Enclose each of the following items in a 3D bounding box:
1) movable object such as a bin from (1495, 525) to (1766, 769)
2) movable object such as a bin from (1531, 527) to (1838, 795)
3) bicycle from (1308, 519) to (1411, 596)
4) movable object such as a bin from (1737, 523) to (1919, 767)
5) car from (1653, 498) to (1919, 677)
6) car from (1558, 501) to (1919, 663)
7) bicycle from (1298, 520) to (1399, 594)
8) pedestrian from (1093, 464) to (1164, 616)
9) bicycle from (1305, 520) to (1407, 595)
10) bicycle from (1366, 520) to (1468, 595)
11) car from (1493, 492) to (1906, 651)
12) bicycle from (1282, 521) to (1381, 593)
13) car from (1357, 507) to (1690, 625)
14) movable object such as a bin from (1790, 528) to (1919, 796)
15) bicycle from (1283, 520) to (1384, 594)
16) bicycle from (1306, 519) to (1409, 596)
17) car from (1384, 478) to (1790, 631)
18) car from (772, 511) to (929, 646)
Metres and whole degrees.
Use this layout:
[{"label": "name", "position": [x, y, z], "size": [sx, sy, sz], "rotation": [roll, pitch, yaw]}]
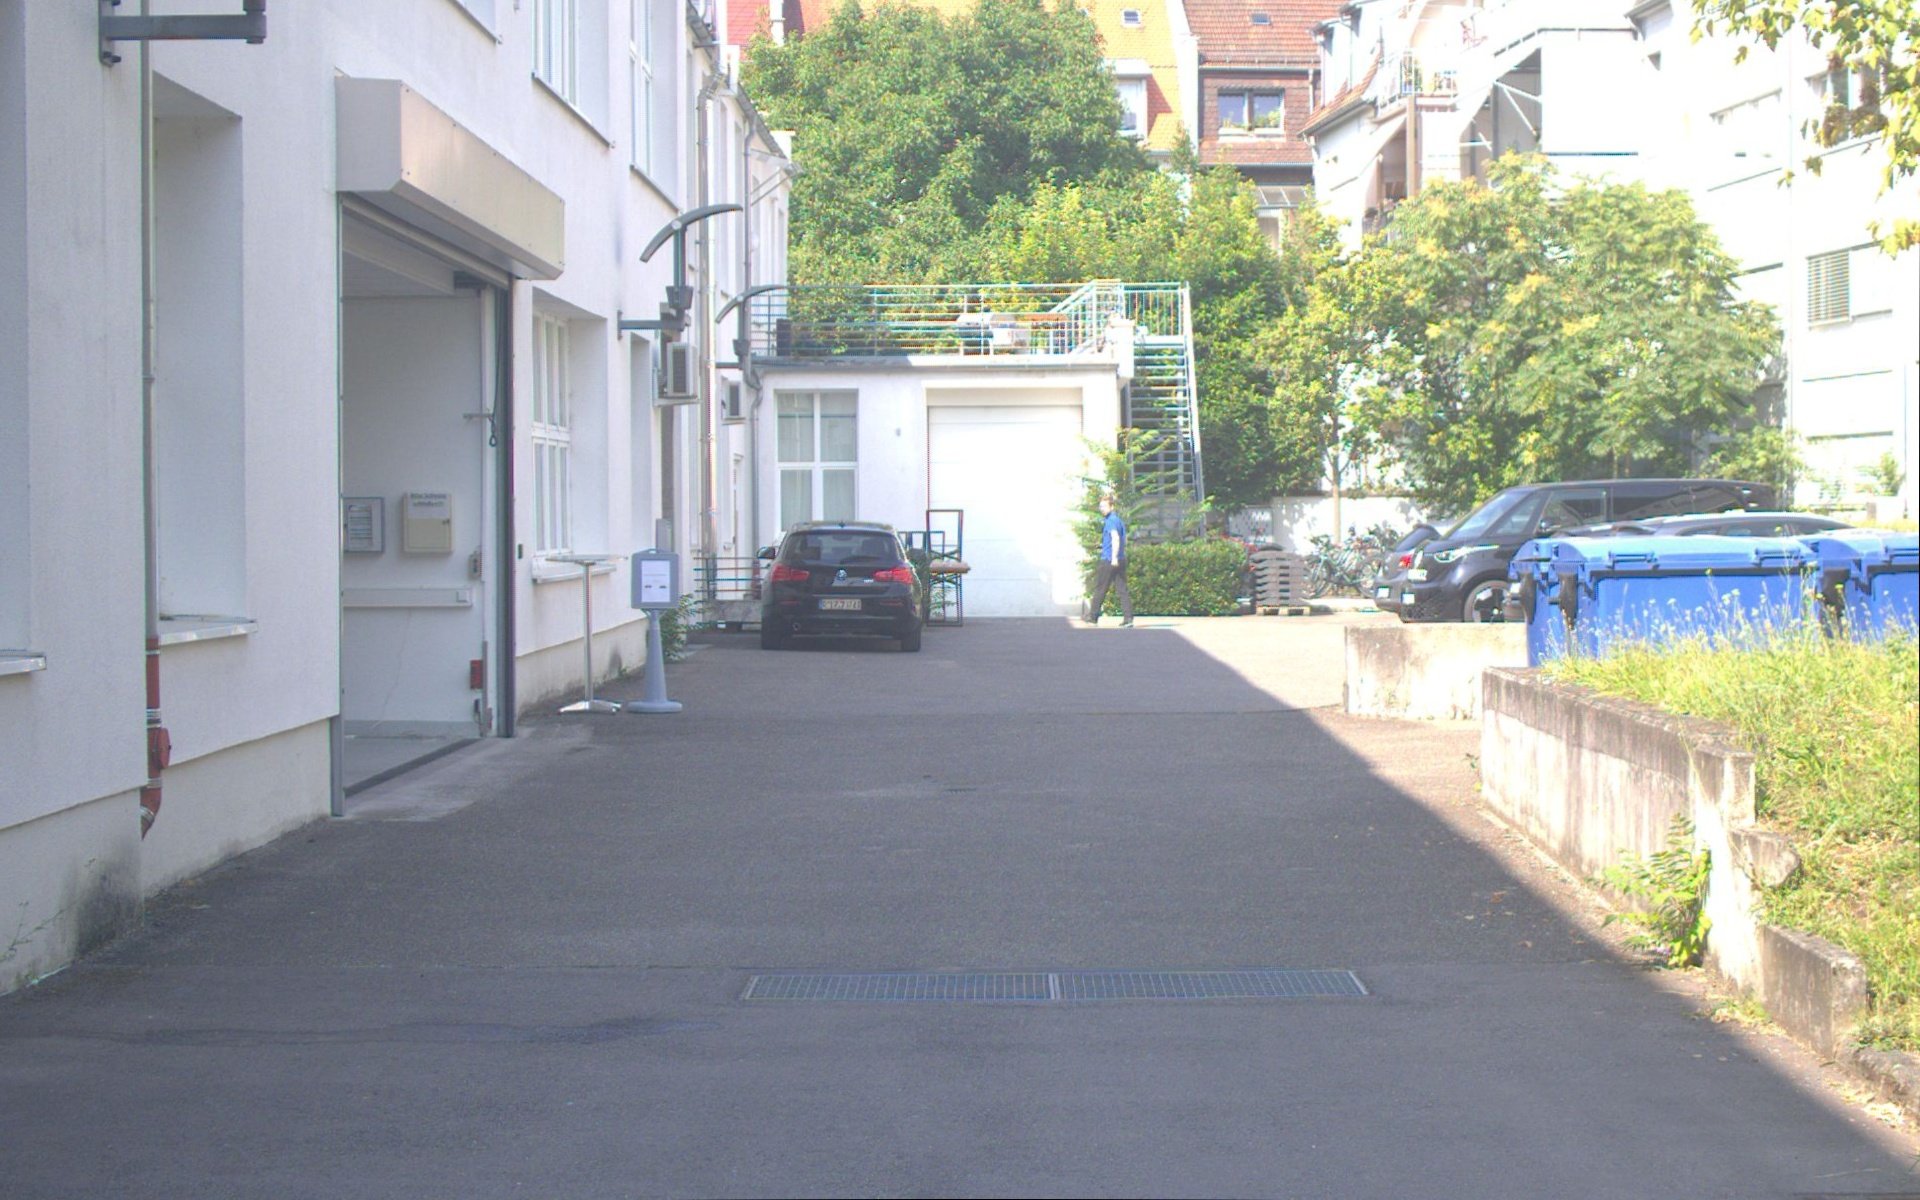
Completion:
[{"label": "movable object such as a bin", "position": [3.778, 0.248, 19.488], "size": [1.300, 1.336, 1.195], "rotation": [0, 1, 0]}, {"label": "movable object such as a bin", "position": [3.713, 0.296, 17.737], "size": [1.309, 1.336, 1.100], "rotation": [0, 1, -2]}, {"label": "bicycle", "position": [6.495, -0.691, 55.908], "size": [1.623, 1.210, 0.327], "rotation": [-1, 1, 3]}, {"label": "movable object such as a bin", "position": [5.104, 0.239, 19.415], "size": [1.235, 1.336, 1.117], "rotation": [0, 1, 4]}, {"label": "car", "position": [8.551, -0.124, 31.733], "size": [3.798, 1.583, 1.898], "rotation": [0, 1, -8]}, {"label": "car", "position": [8.219, -0.191, 34.945], "size": [3.861, 1.583, 1.880], "rotation": [0, 1, -4]}, {"label": "bicycle", "position": [6.441, -0.710, 57.018], "size": [1.624, 1.210, 0.327], "rotation": [-1, 1, 14]}, {"label": "pedestrian", "position": [2.243, -0.799, 45.926], "size": [0.914, 2.007, 0.935], "rotation": [0, 1, 1]}, {"label": "bicycle", "position": [6.471, -0.696, 56.202], "size": [1.623, 1.210, 0.327], "rotation": [-1, 1, 3]}, {"label": "bicycle", "position": [7.516, -0.697, 56.528], "size": [1.624, 1.210, 0.327], "rotation": [-1, 1, 16]}, {"label": "car", "position": [8.069, -0.319, 37.767], "size": [4.116, 1.686, 1.771], "rotation": [0, 1, -2]}, {"label": "bicycle", "position": [6.362, -0.743, 58.934], "size": [1.623, 1.210, 0.424], "rotation": [-1, 1, -3]}, {"label": "car", "position": [7.326, -0.450, 44.874], "size": [3.931, 1.477, 1.775], "rotation": [-1, 1, -8]}, {"label": "movable object such as a bin", "position": [5.045, 0.303, 17.699], "size": [1.226, 1.336, 1.077], "rotation": [0, 1, -3]}, {"label": "bicycle", "position": [6.264, -0.722, 57.699], "size": [1.623, 1.210, 0.424], "rotation": [-1, 1, 1]}, {"label": "bicycle", "position": [6.424, -0.686, 55.588], "size": [1.623, 1.210, 0.327], "rotation": [-1, 1, 3]}, {"label": "car", "position": [7.615, -0.559, 41.979], "size": [4.499, 1.788, 1.883], "rotation": [-1, 1, -8]}, {"label": "car", "position": [-1.201, -0.264, 39.048], "size": [1.688, 1.454, 3.923], "rotation": [0, 1, -1]}]
